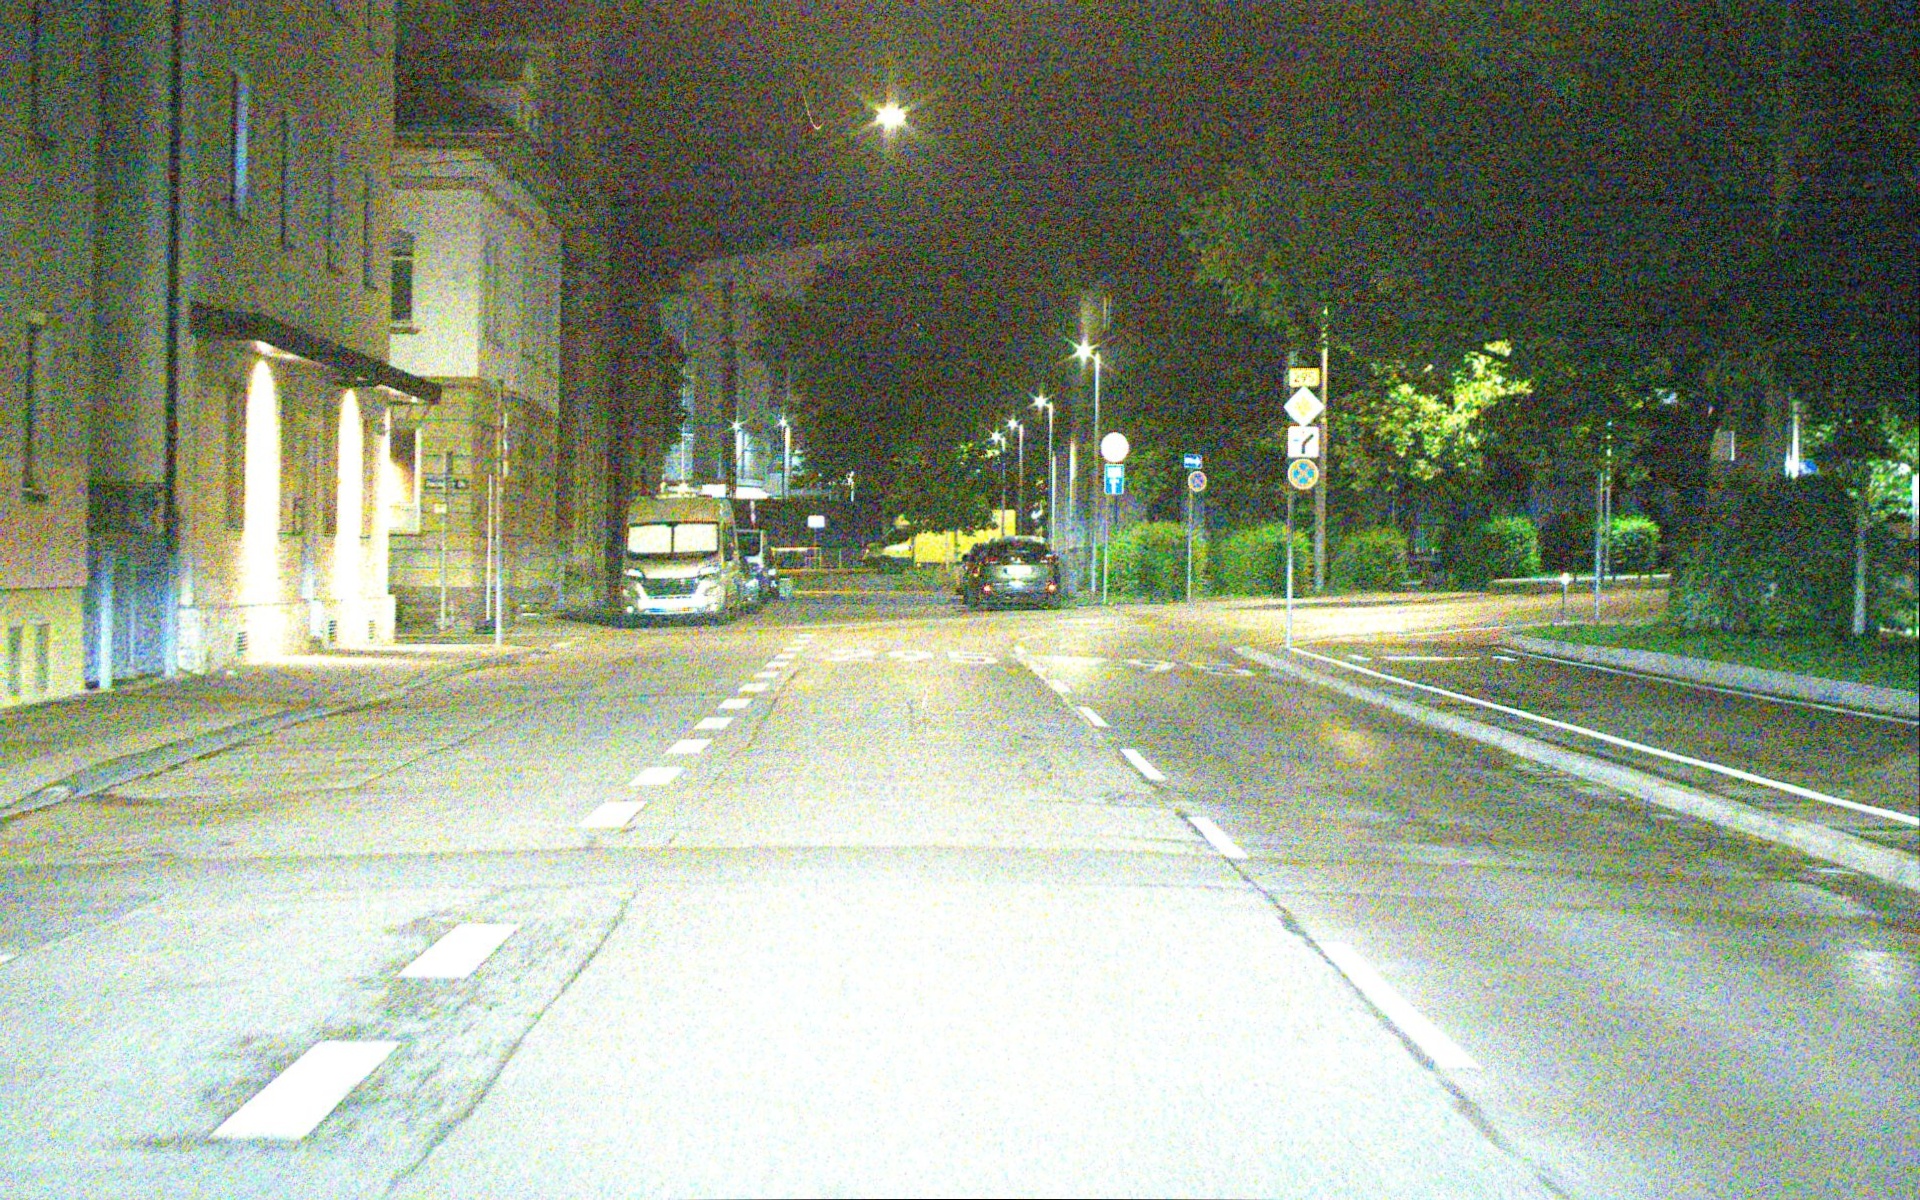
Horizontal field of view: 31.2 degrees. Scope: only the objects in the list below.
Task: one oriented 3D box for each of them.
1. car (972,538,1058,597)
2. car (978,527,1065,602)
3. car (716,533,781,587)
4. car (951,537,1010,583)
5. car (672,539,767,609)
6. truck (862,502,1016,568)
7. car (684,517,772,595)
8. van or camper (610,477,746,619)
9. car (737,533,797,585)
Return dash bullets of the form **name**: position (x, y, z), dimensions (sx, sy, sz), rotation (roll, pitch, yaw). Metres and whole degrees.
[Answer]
- **car**: position (1.294, -0.764, 82.394), dimensions (1.963, 1.378, 4.000), rotation (0, 0, 0)
- **car**: position (1.384, -0.805, 77.049), dimensions (1.884, 1.597, 4.107), rotation (-1, 1, 1)
- **car**: position (-6.130, -1.162, 100.005), dimensions (1.704, 1.504, 4.100), rotation (1, 0, -2)
- **car**: position (0.646, -1.303, 111.186), dimensions (1.758, 1.440, 4.026), rotation (0, 1, -2)
- **car**: position (-5.458, -0.602, 77.597), dimensions (1.838, 1.502, 4.743), rotation (-1, 1, -7)
- **truck**: position (-0.967, -2.918, 154.593), dimensions (6.775, 2.834, 2.000), rotation (1, 1, -3)
- **car**: position (-5.919, -1.135, 88.049), dimensions (1.993, 1.948, 4.806), rotation (0, 1, -1)
- **van or camper**: position (-5.397, -1.000, 66.542), dimensions (2.158, 2.527, 6.227), rotation (-2, 1, -1)
- **car**: position (-5.917, -1.245, 105.863), dimensions (1.677, 1.561, 4.105), rotation (0, 0, -1)
